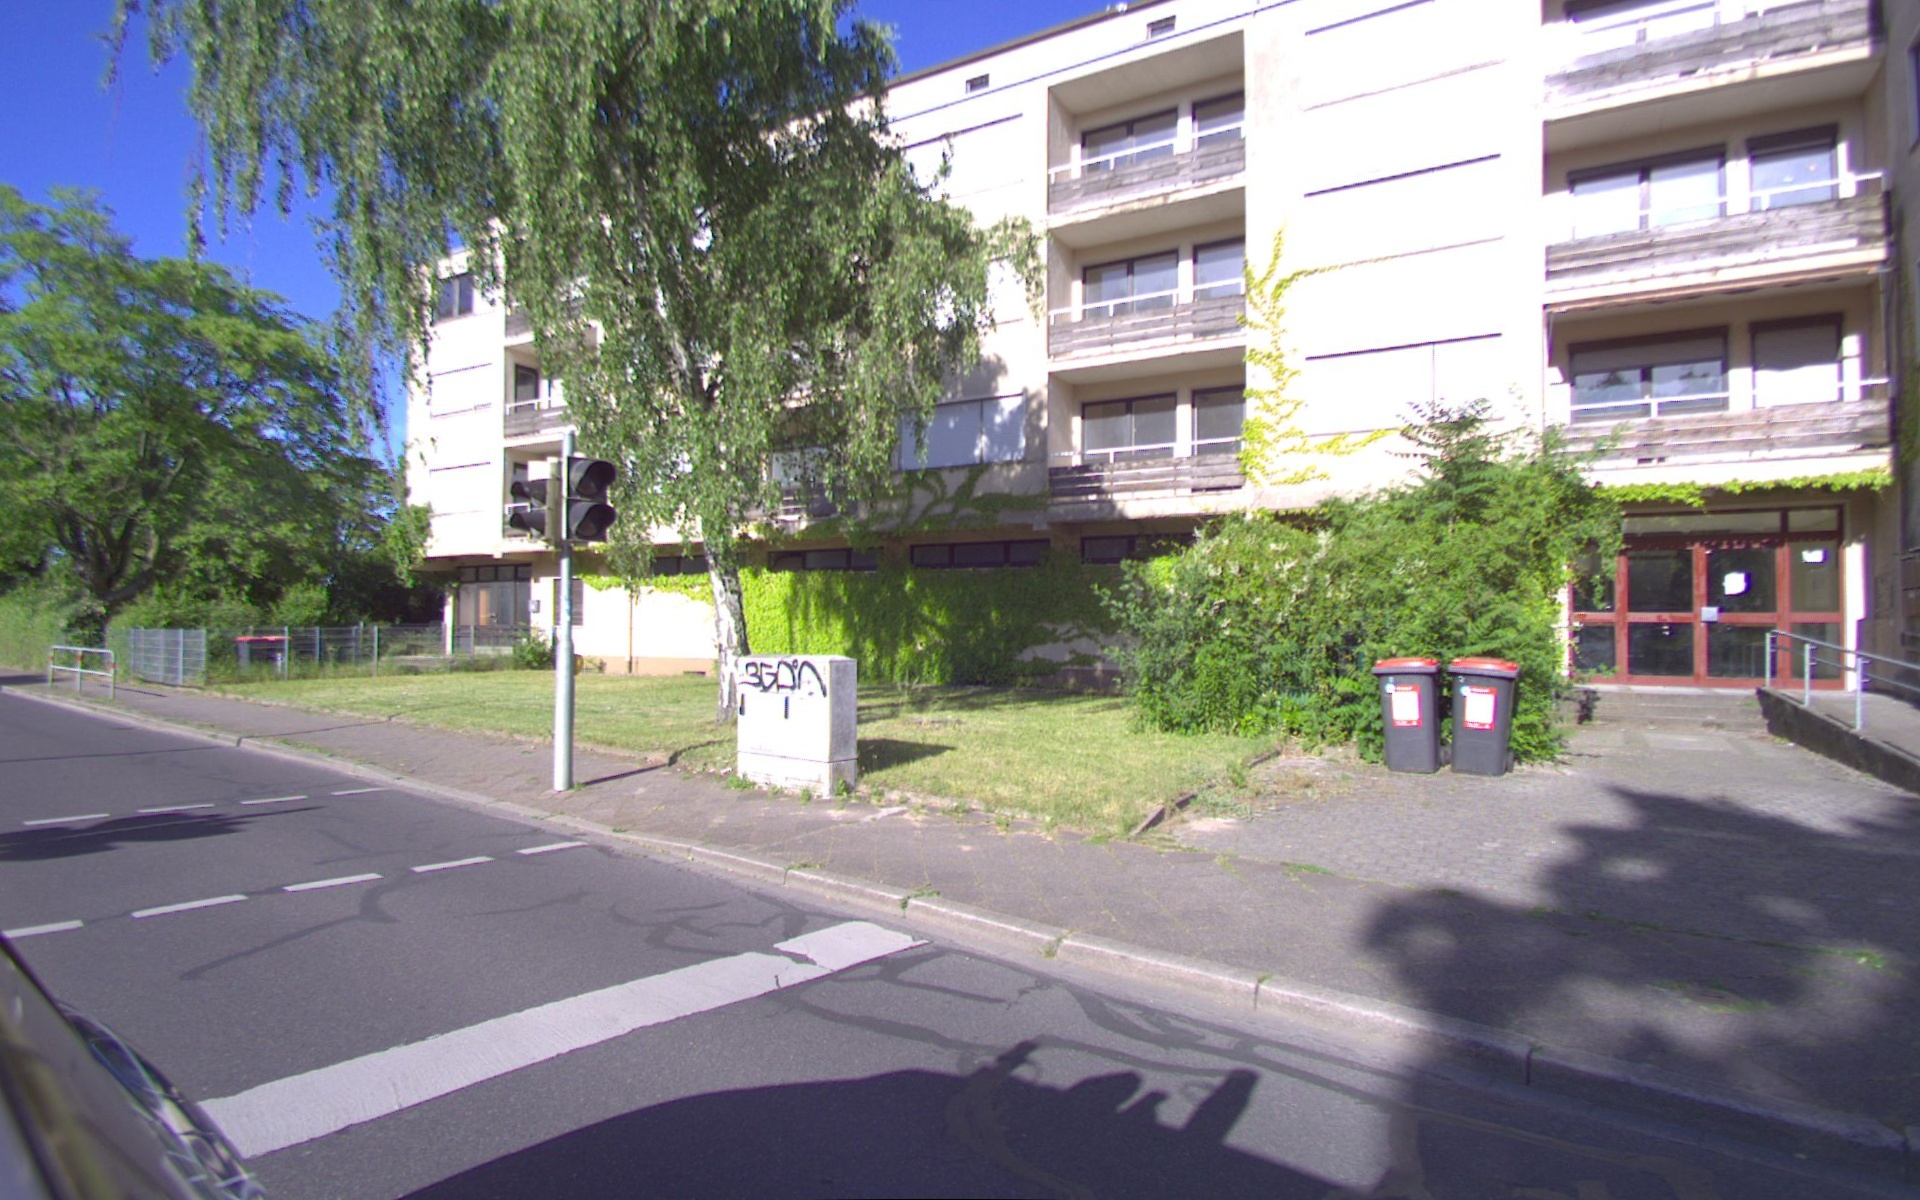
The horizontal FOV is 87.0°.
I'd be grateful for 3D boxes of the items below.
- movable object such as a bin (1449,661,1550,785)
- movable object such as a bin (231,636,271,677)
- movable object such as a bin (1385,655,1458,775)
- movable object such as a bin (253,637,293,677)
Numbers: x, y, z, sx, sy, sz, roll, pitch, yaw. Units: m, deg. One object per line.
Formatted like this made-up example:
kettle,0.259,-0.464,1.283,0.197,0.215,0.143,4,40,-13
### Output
movable object such as a bin,4.914,1.097,9.258,0.697,1.056,0.625,0,-2,18
movable object such as a bin,-18.277,1.456,26.101,0.709,1.032,0.616,-1,-3,34
movable object such as a bin,4.322,1.060,9.504,0.552,1.061,0.561,0,-2,19
movable object such as a bin,-18.008,1.480,26.537,0.709,1.032,0.616,-1,-3,34
